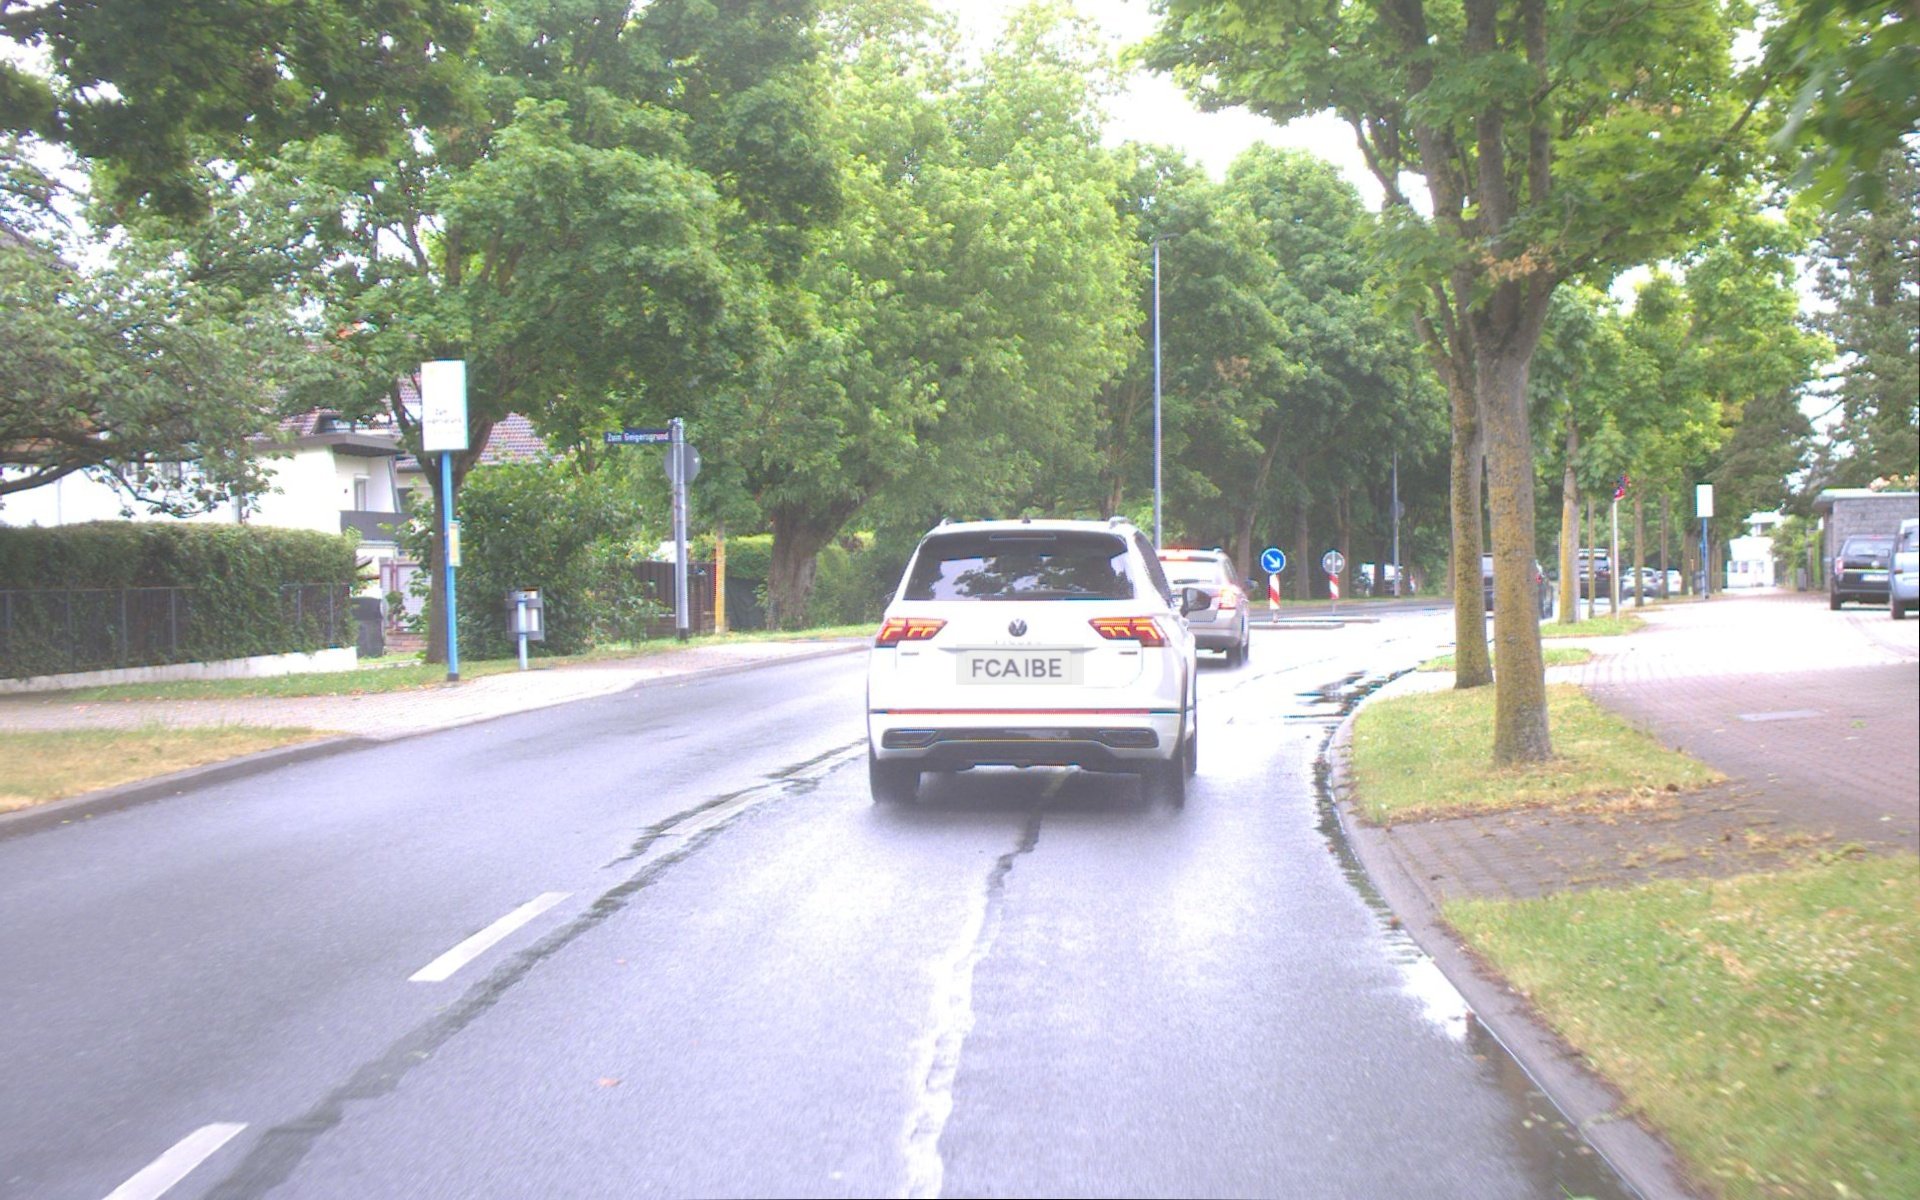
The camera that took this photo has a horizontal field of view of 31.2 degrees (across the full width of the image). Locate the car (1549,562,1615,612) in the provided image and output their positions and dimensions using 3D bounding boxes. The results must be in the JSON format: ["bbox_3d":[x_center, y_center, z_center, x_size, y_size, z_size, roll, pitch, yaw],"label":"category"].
[{"bbox_3d":[19.991,-0.414,110.579,1.841,1.482,3.999,-2,0,7],"label":"car"}]

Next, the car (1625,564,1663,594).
[{"bbox_3d":[30.709,-0.950,154.375,1.638,1.322,3.998,1,1,11],"label":"car"}]

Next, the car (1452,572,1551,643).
[{"bbox_3d":[12.149,0.147,76.974,1.841,1.482,3.998,2,1,13],"label":"car"}]

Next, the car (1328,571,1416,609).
[{"bbox_3d":[16.512,-0.391,137.937,1.841,1.477,4.001,-1,0,-21],"label":"car"}]

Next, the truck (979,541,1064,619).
[{"bbox_3d":[2.150,-0.687,118.958,2.285,2.588,5.872,-1,0,7],"label":"truck"}]

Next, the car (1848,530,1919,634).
[{"bbox_3d":[15.379,-0.312,55.963,1.745,1.605,3.997,-2,0,15],"label":"car"}]

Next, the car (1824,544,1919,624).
[{"bbox_3d":[18.111,-0.337,68.284,1.772,1.493,4.541,-2,0,15],"label":"car"}]

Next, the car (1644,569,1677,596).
[{"bbox_3d":[36.405,-0.917,178.616,1.638,1.322,3.998,1,1,11],"label":"car"}]

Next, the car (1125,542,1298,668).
[{"bbox_3d":[3.296,0.057,44.444,1.841,1.482,3.998,-2,0,9],"label":"car"}]

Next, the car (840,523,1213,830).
[{"bbox_3d":[0.465,0.386,20.741,1.997,1.626,4.000,1,1,3],"label":"car"}]
